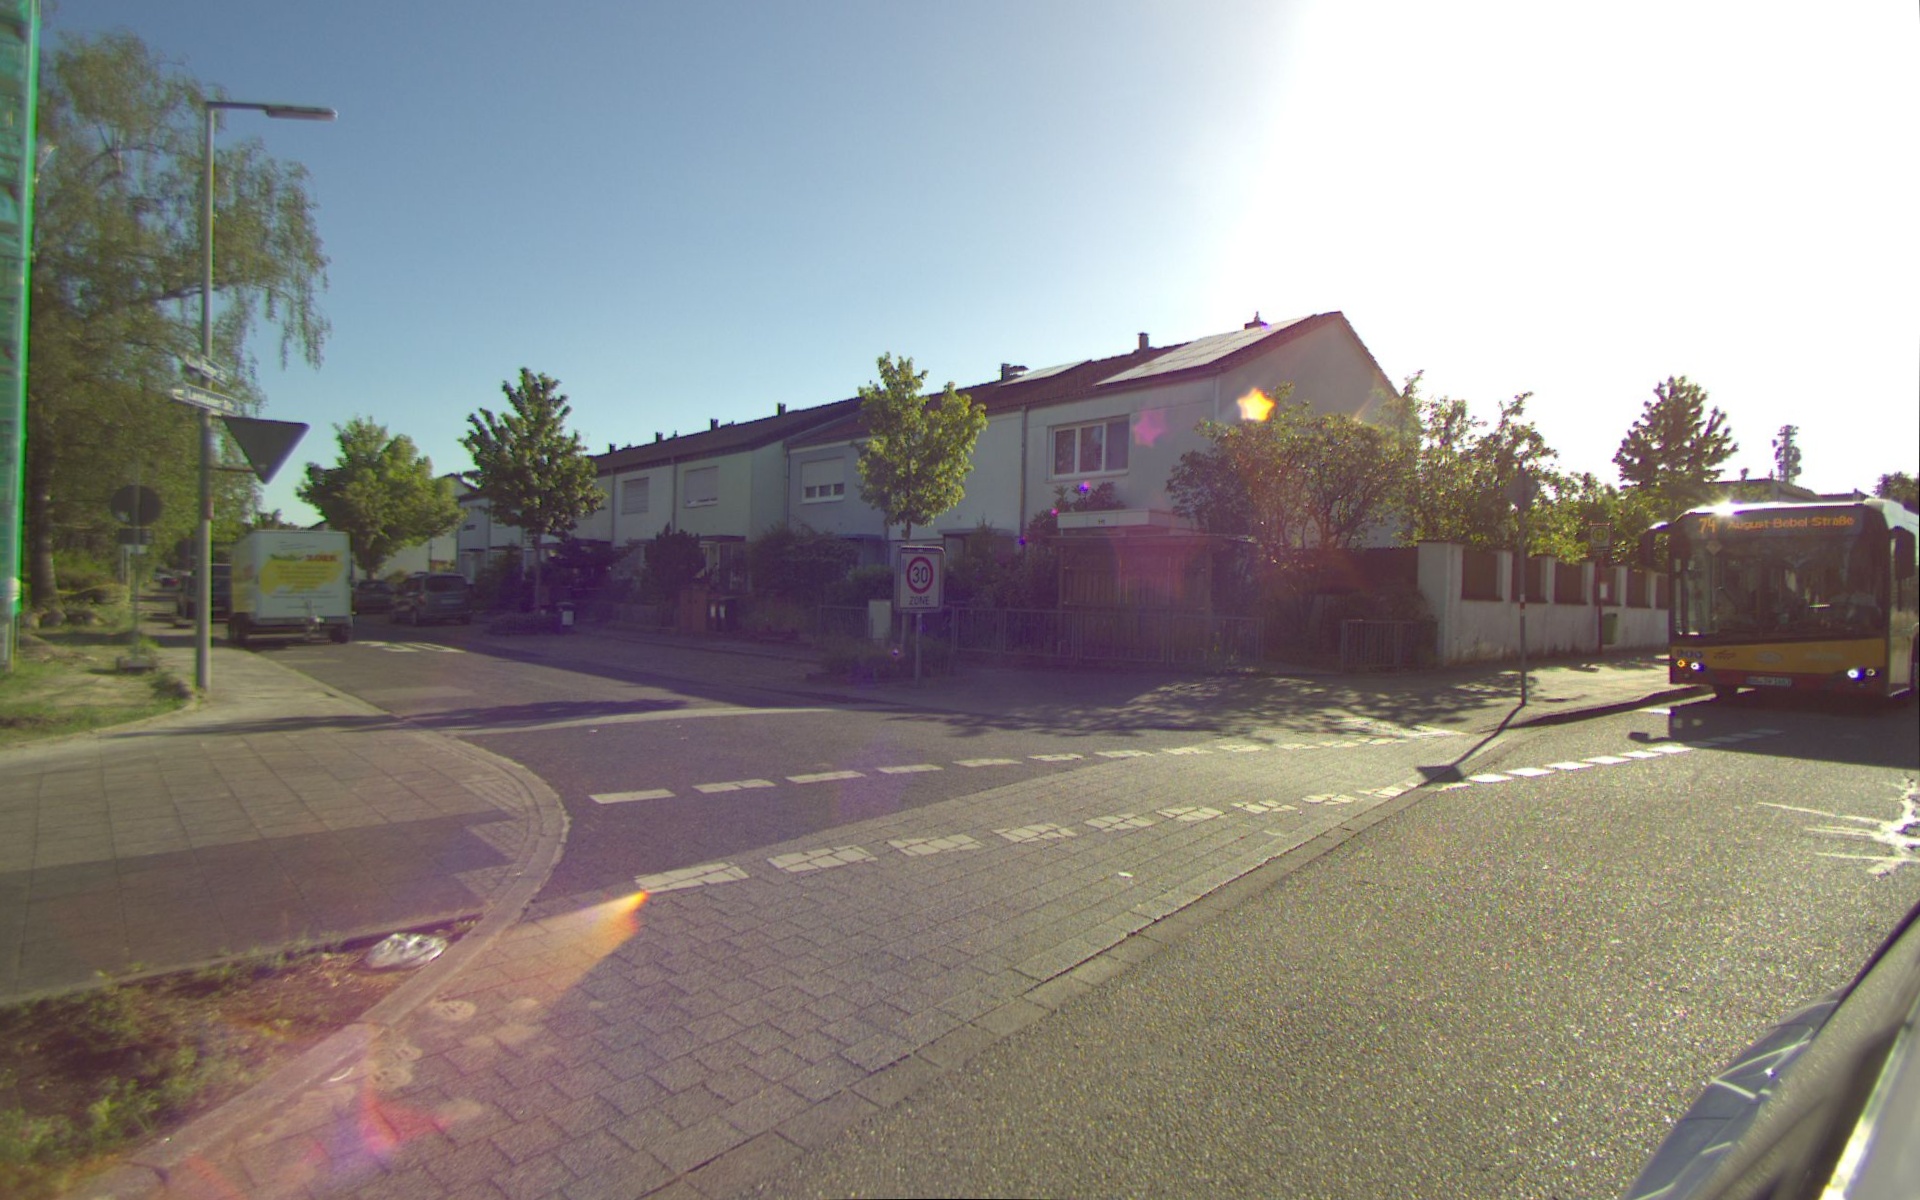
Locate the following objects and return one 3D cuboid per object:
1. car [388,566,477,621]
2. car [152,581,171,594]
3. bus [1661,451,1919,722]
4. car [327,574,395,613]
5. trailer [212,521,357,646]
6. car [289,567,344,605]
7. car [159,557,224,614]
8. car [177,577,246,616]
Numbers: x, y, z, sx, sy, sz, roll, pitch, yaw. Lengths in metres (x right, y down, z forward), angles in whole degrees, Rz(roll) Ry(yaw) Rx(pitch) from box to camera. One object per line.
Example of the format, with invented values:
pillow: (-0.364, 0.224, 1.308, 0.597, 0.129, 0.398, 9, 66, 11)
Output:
car: (-18.618, -0.189, 35.636, 1.856, 1.799, 3.915, 2, -2, -42)
car: (-112.199, -1.755, 142.168, 1.856, 1.629, 3.915, 2, -2, -42)
bus: (16.136, -0.279, 18.045, 12.177, 3.501, 2.764, -1, 2, -40)
car: (-26.459, -0.268, 44.644, 1.856, 1.608, 3.915, 2, -2, -42)
trailer: (-15.633, -0.404, 23.291, 2.050, 2.565, 4.961, 0, 1, -42)
car: (-34.553, -0.698, 54.311, 1.856, 1.906, 3.915, 2, -2, -42)
car: (-28.023, -0.490, 36.886, 1.580, 1.928, 3.148, 2, -2, -42)
car: (-25.391, -0.100, 34.298, 1.580, 1.210, 3.238, 2, -2, -42)
